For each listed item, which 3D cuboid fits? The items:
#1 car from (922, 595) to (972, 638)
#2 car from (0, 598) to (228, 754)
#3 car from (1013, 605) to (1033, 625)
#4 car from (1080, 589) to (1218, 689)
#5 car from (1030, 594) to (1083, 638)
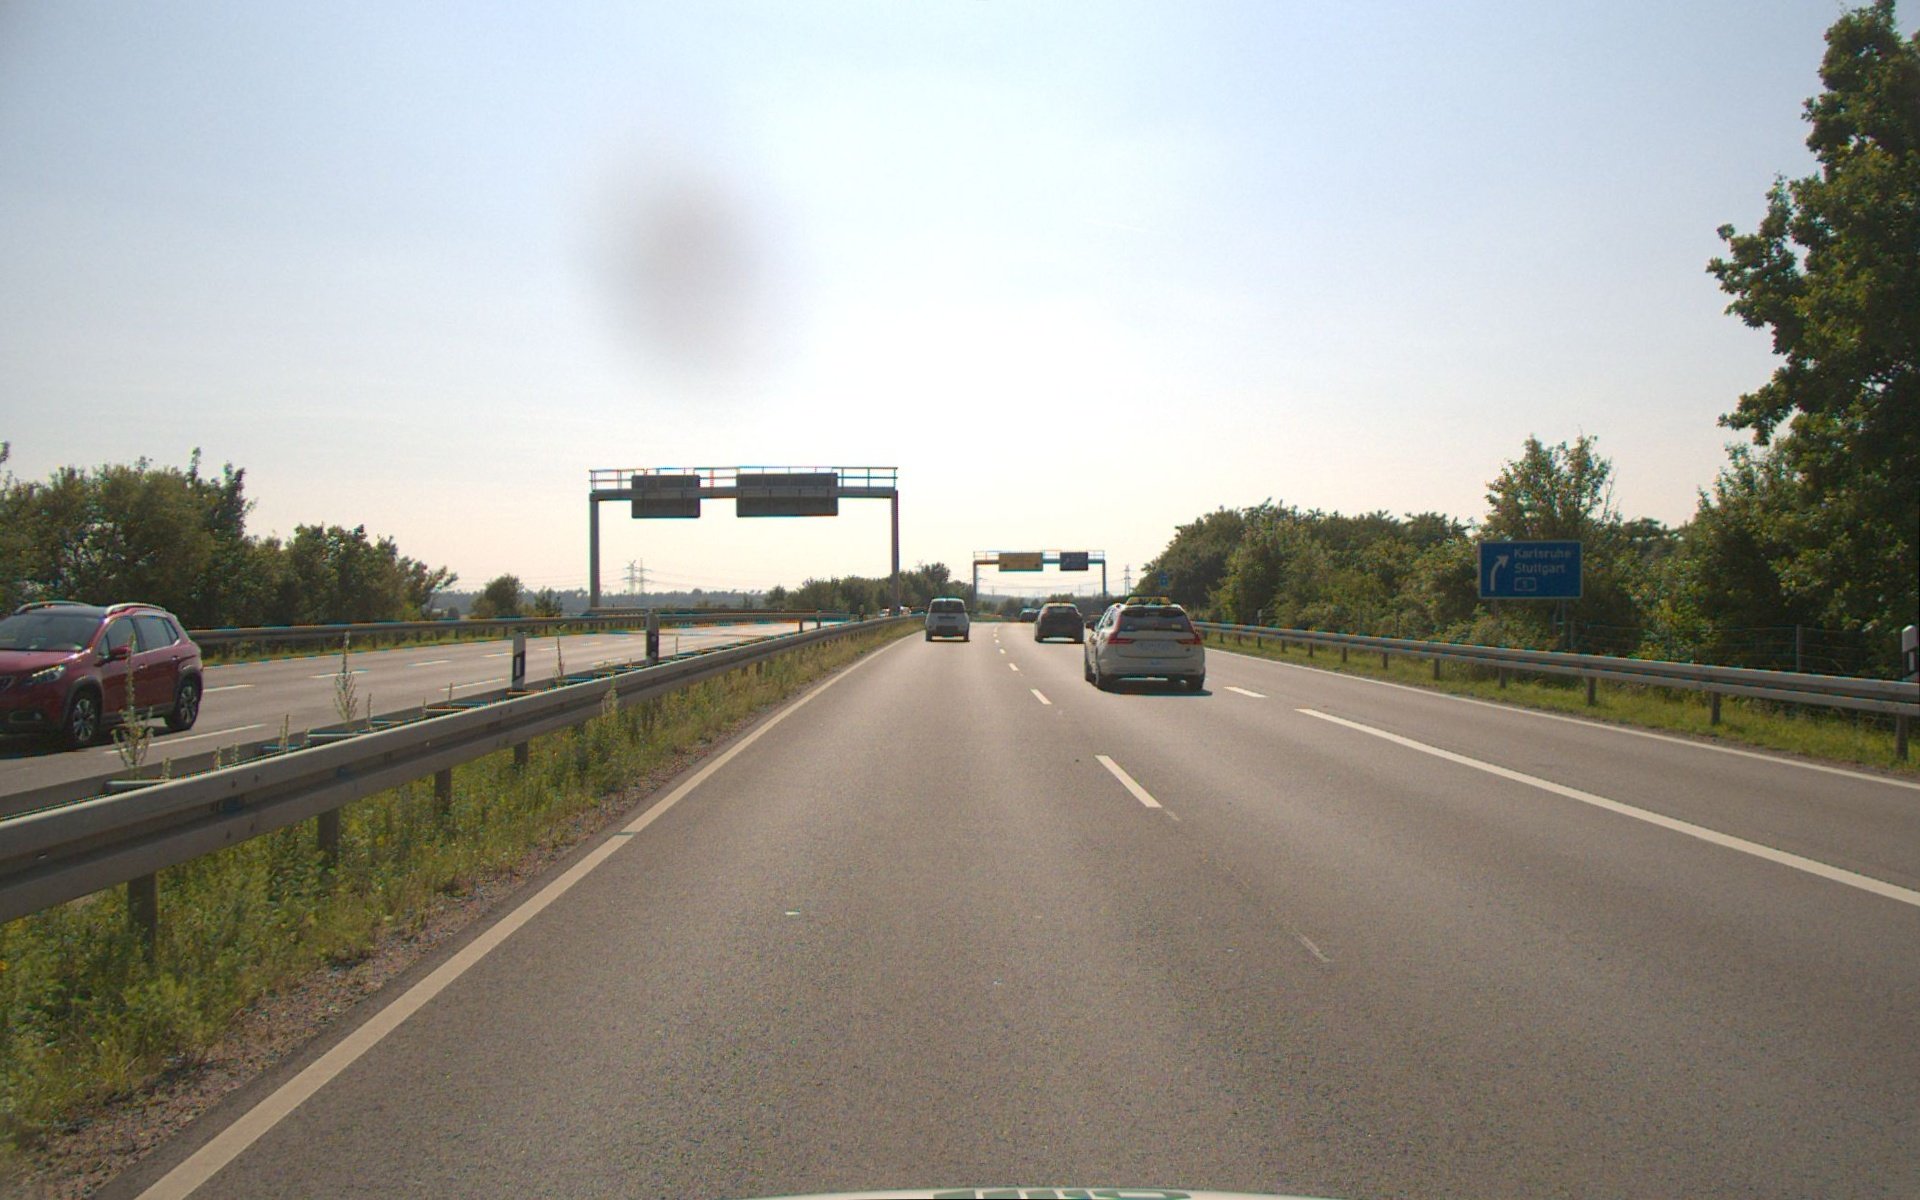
[{"bbox_3d":[-0.448,0.618,61.941,1.756,1.529,4.043,-1,-1,1],"label":"car"},{"bbox_3d":[-10.297,0.794,19.410,1.609,1.602,4.263,1,0,-2],"label":"car"},{"bbox_3d":[6.764,1.637,177.568,1.952,2.049,4.000,1,0,1],"label":"car"},{"bbox_3d":[3.298,0.648,29.583,1.918,1.629,4.106,1,0,-1],"label":"car"},{"bbox_3d":[3.599,0.616,62.048,1.756,1.570,3.671,1,-1,0],"label":"car"}]
